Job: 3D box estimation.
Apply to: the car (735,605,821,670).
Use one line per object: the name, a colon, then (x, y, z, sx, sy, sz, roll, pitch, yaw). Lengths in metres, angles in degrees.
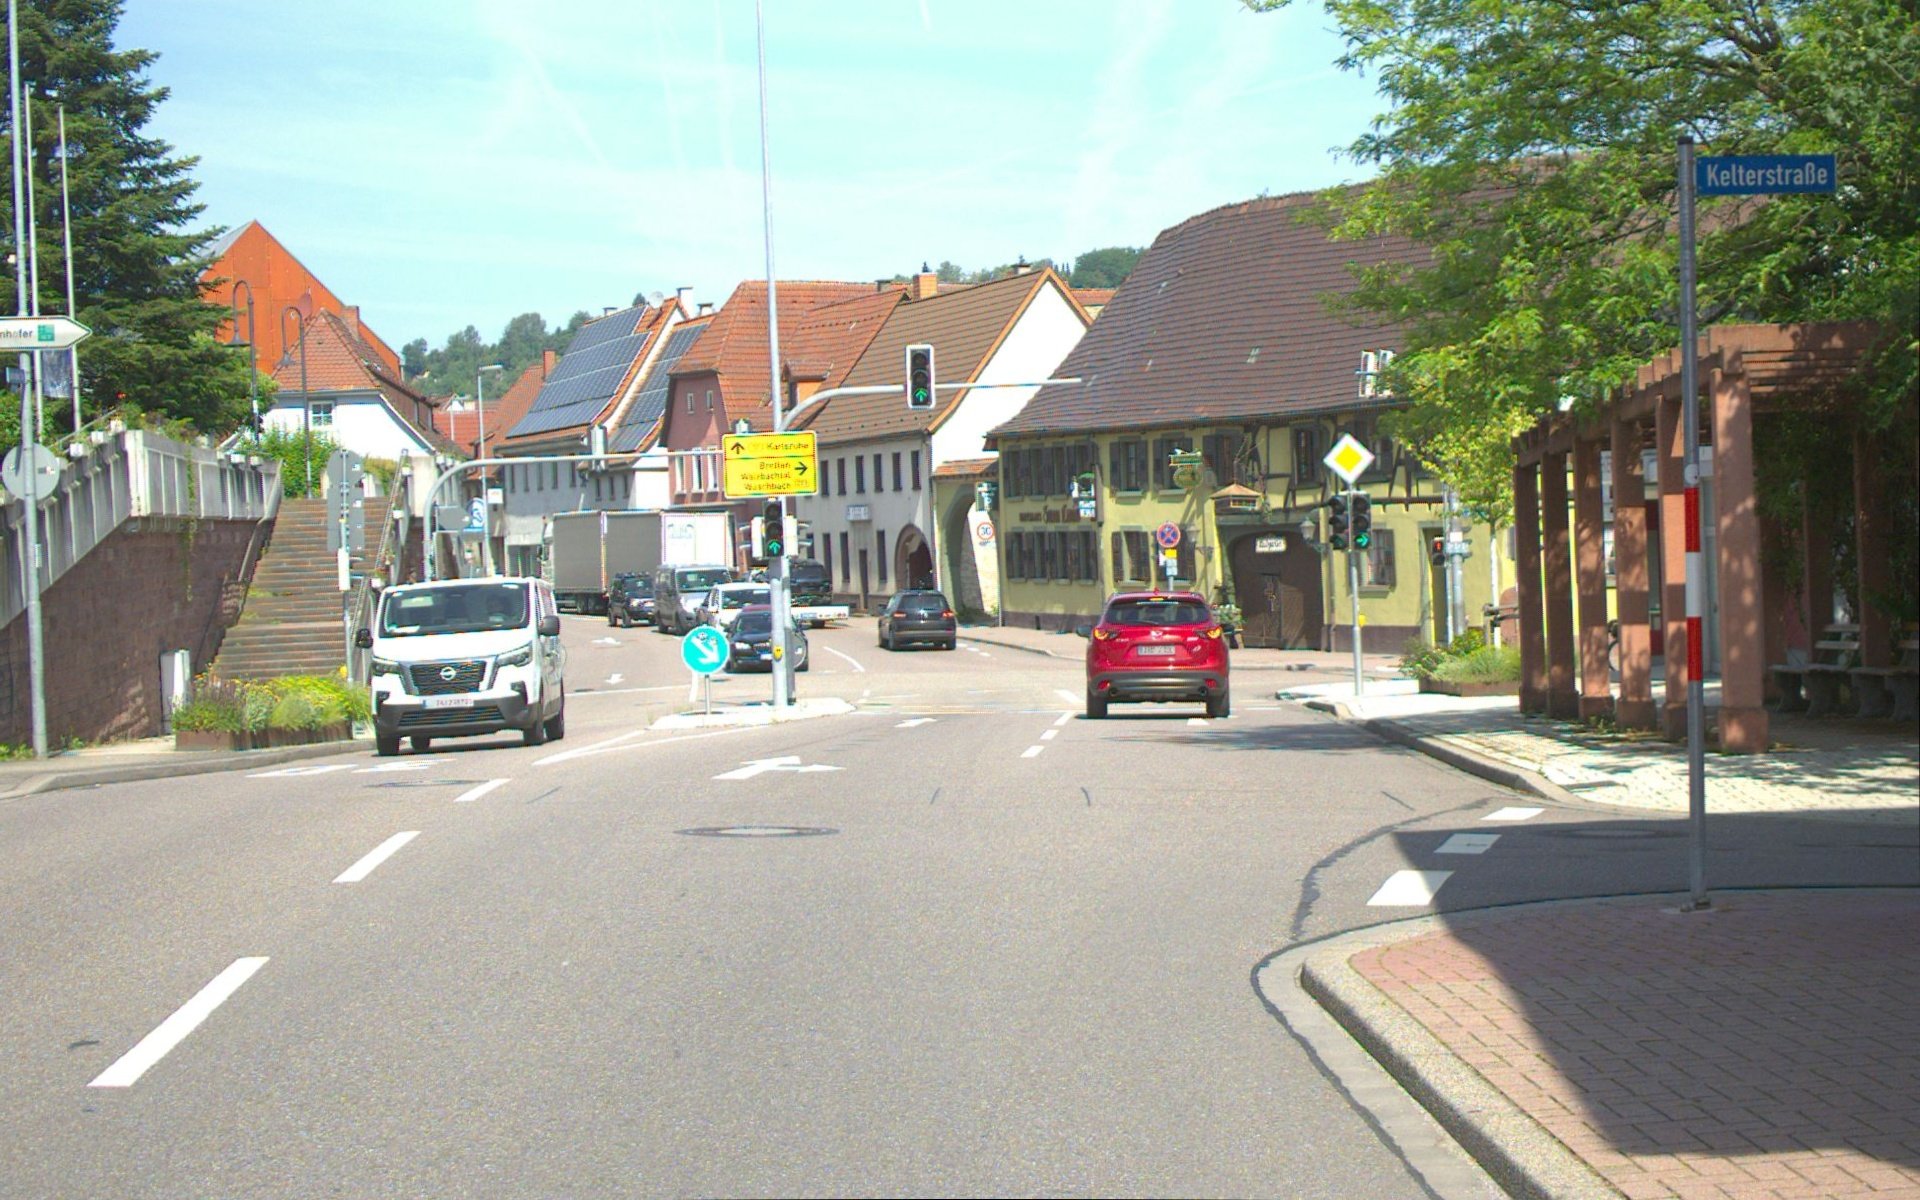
car: (-4.454, 0.903, 84.783, 1.820, 1.429, 4.248, -1, 1, 1)

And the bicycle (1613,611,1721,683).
bicycle: (12.800, 0.854, 62.260, 1.803, 1.230, 0.549, -2, 0, 3)

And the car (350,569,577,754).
car: (-5.681, 0.640, 39.949, 1.968, 1.926, 5.314, -2, 1, -2)

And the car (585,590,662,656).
car: (-11.832, 0.787, 120.766, 1.757, 2.238, 4.554, 0, 0, -18)

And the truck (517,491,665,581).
truck: (-15.087, -2.539, 139.770, 3.158, 3.448, 10.714, 1, 0, -22)

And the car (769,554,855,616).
car: (-4.934, -0.503, 114.230, 1.846, 2.007, 4.001, 0, 0, -18)

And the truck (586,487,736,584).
truck: (-11.411, -2.421, 130.446, 3.222, 3.537, 9.233, 0, 0, -21)

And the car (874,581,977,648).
car: (-0.987, 0.388, 95.686, 1.820, 1.733, 4.006, -3, 1, -15)

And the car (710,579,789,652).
car: (-6.020, 0.401, 97.912, 1.820, 1.899, 4.965, -2, 1, -8)

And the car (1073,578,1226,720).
car: (2.538, 0.608, 45.332, 1.805, 1.657, 3.812, -2, 1, 6)

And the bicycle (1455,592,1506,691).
bicycle: (7.139, 0.555, 47.246, 0.529, 1.275, 1.991, -5, 0, 7)
